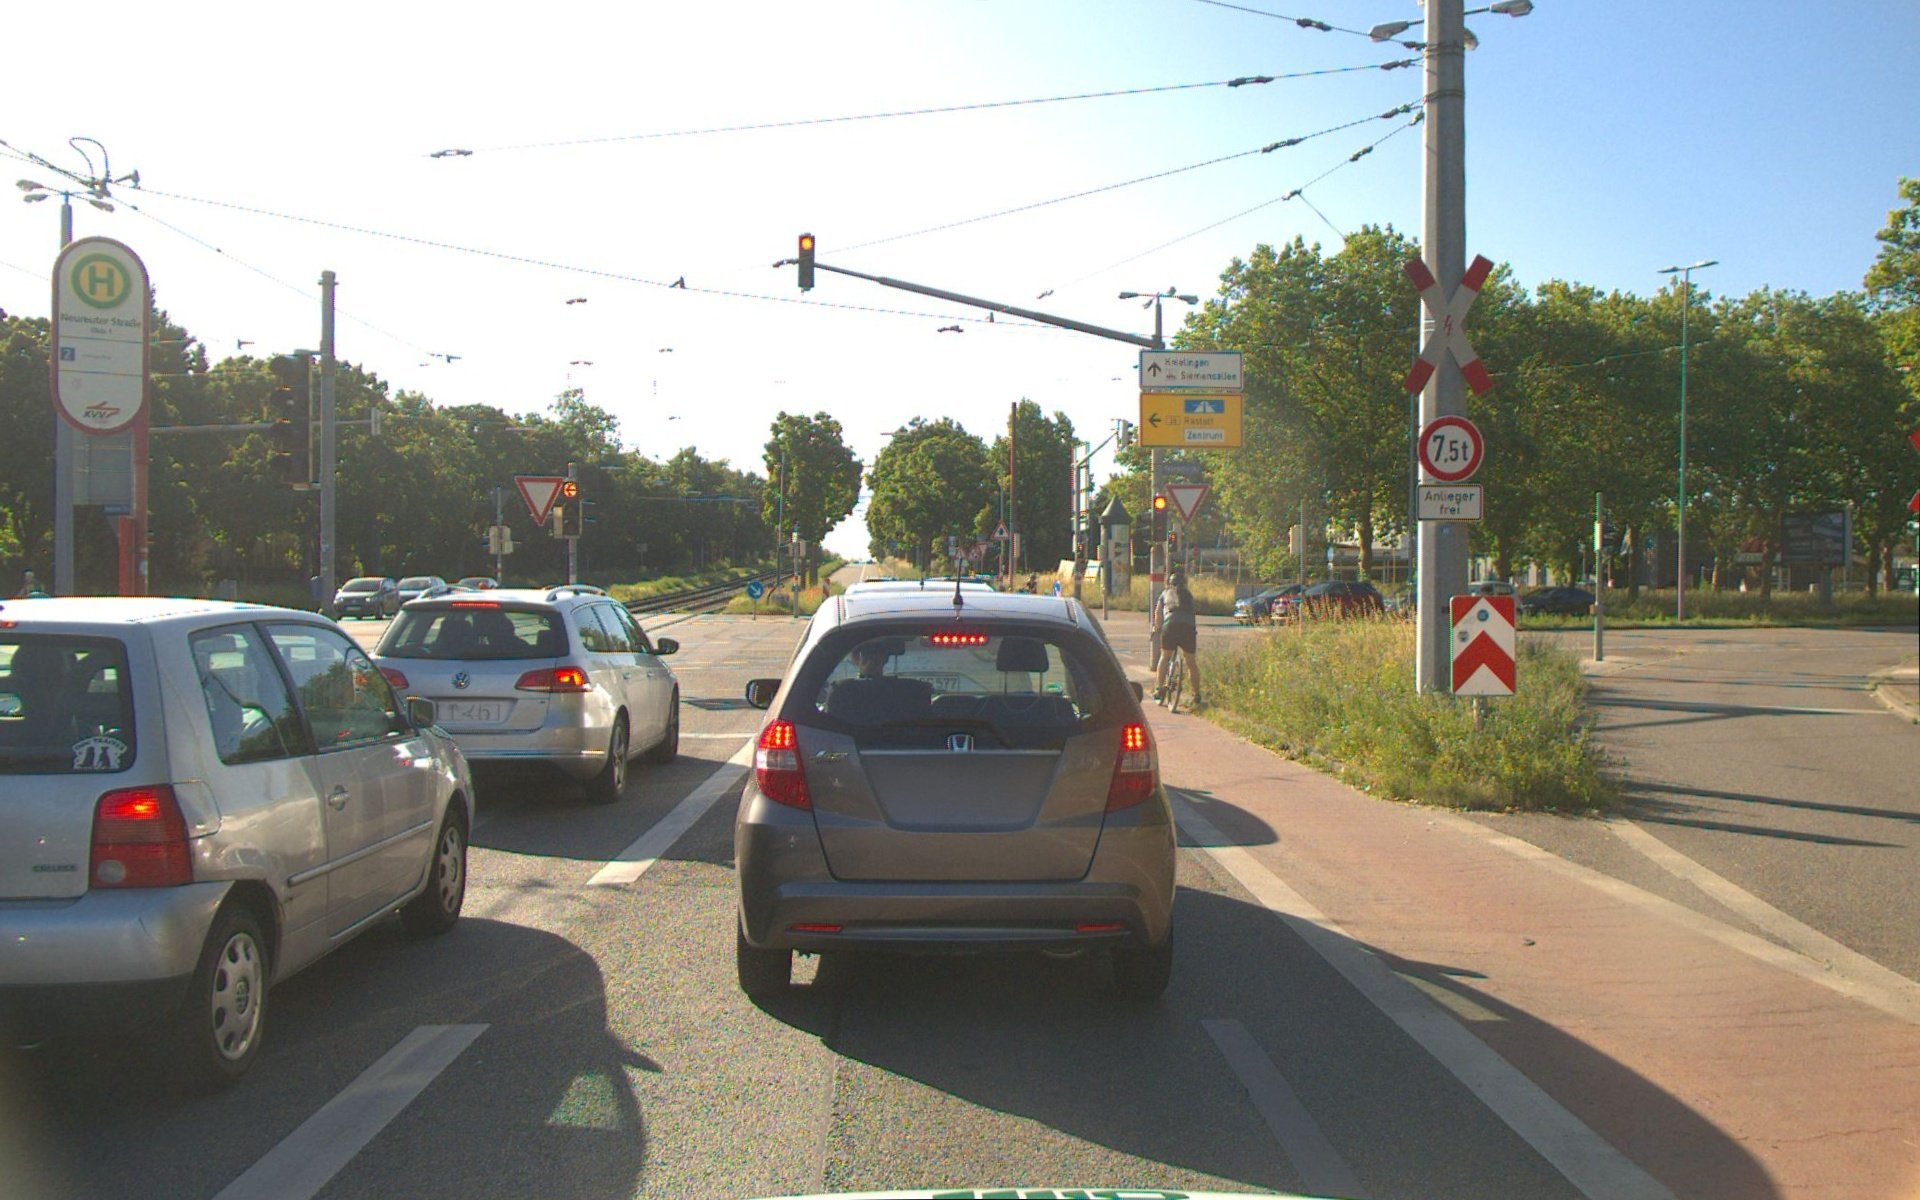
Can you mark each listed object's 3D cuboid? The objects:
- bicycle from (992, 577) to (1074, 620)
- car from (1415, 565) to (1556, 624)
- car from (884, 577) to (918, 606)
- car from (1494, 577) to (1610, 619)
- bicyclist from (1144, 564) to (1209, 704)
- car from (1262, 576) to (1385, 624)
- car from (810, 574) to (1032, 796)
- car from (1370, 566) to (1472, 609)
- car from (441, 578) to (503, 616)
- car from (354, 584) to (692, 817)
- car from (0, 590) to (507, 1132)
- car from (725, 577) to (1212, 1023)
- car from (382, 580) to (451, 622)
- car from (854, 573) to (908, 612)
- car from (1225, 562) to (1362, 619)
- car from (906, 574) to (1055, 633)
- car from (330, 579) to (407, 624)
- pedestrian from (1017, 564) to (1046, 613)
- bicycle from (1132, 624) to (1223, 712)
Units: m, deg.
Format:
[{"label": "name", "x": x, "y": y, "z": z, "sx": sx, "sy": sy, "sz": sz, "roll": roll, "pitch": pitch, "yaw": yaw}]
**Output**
[{"label": "bicycle", "x": 2.786, "y": -0.070, "z": 62.947, "sx": 3.164, "sy": 1.602, "sz": 0.814, "roll": 0, "pitch": 0, "yaw": -26}, {"label": "car", "x": 19.023, "y": -0.226, "z": 59.883, "sx": 4.823, "sy": 2.049, "sz": 1.985, "roll": 0, "pitch": 0, "yaw": -24}, {"label": "car", "x": -2.934, "y": -0.409, "z": 81.632, "sx": 1.493, "sy": 1.403, "sz": 3.672, "roll": 0, "pitch": 0, "yaw": -6}, {"label": "car", "x": 23.593, "y": -0.097, "z": 65.868, "sx": 4.450, "sy": 1.601, "sz": 1.681, "roll": 0, "pitch": 0, "yaw": -24}, {"label": "bicyclist", "x": 2.770, "y": 0.428, "z": 21.202, "sx": 0.652, "sy": 1.746, "sz": 0.948, "roll": 1, "pitch": 0, "yaw": -2}, {"label": "car", "x": 12.360, "y": -0.012, "z": 56.161, "sx": 3.934, "sy": 1.557, "sz": 1.594, "roll": -1, "pitch": 1, "yaw": -24}, {"label": "car", "x": -0.329, "y": 0.599, "z": 13.984, "sx": 1.578, "sy": 1.589, "sz": 4.287, "roll": 0, "pitch": 0, "yaw": -1}, {"label": "car", "x": 17.684, "y": -0.481, "z": 63.395, "sx": 3.694, "sy": 1.597, "sz": 1.480, "roll": 0, "pitch": 0, "yaw": -24}, {"label": "car", "x": -21.733, "y": -0.161, "z": 73.782, "sx": 1.956, "sy": 1.632, "sz": 4.746, "roll": 1, "pitch": 1, "yaw": -8}, {"label": "car", "x": -3.150, "y": 0.654, "z": 12.723, "sx": 1.586, "sy": 1.482, "sz": 4.084, "roll": 1, "pitch": 0, "yaw": -1}, {"label": "car", "x": -2.891, "y": 0.704, "z": 6.083, "sx": 1.586, "sy": 1.442, "sz": 3.350, "roll": 0, "pitch": 0, "yaw": -1}, {"label": "car", "x": -0.058, "y": 0.659, "z": 7.353, "sx": 1.635, "sy": 1.487, "sz": 3.584, "roll": 0, "pitch": 0, "yaw": -3}, {"label": "car", "x": -21.484, "y": 0.022, "z": 65.533, "sx": 1.798, "sy": 1.575, "sz": 4.277, "roll": 0, "pitch": 0, "yaw": -8}, {"label": "car", "x": -3.087, "y": -0.307, "z": 65.252, "sx": 1.674, "sy": 1.504, "sz": 4.002, "roll": 0, "pitch": 0, "yaw": 4}, {"label": "car", "x": 12.178, "y": -0.327, "z": 60.447, "sx": 4.626, "sy": 1.912, "sz": 1.985, "roll": 2, "pitch": 0, "yaw": -24}, {"label": "car", "x": 0.580, "y": 0.073, "z": 45.785, "sx": 3.929, "sy": 1.571, "sz": 1.576, "roll": -1, "pitch": 0, "yaw": -31}, {"label": "car", "x": -21.315, "y": 0.039, "z": 59.744, "sx": 1.798, "sy": 1.575, "sz": 3.993, "roll": 0, "pitch": 0, "yaw": -8}, {"label": "pedestrian", "x": 2.731, "y": -0.444, "z": 62.933, "sx": 0.842, "sy": 1.868, "sz": 0.784, "roll": 0, "pitch": 0, "yaw": -26}, {"label": "bicycle", "x": 2.758, "y": 0.841, "z": 21.281, "sx": 0.707, "sy": 1.006, "sz": 2.875, "roll": 1, "pitch": 0, "yaw": -2}]
